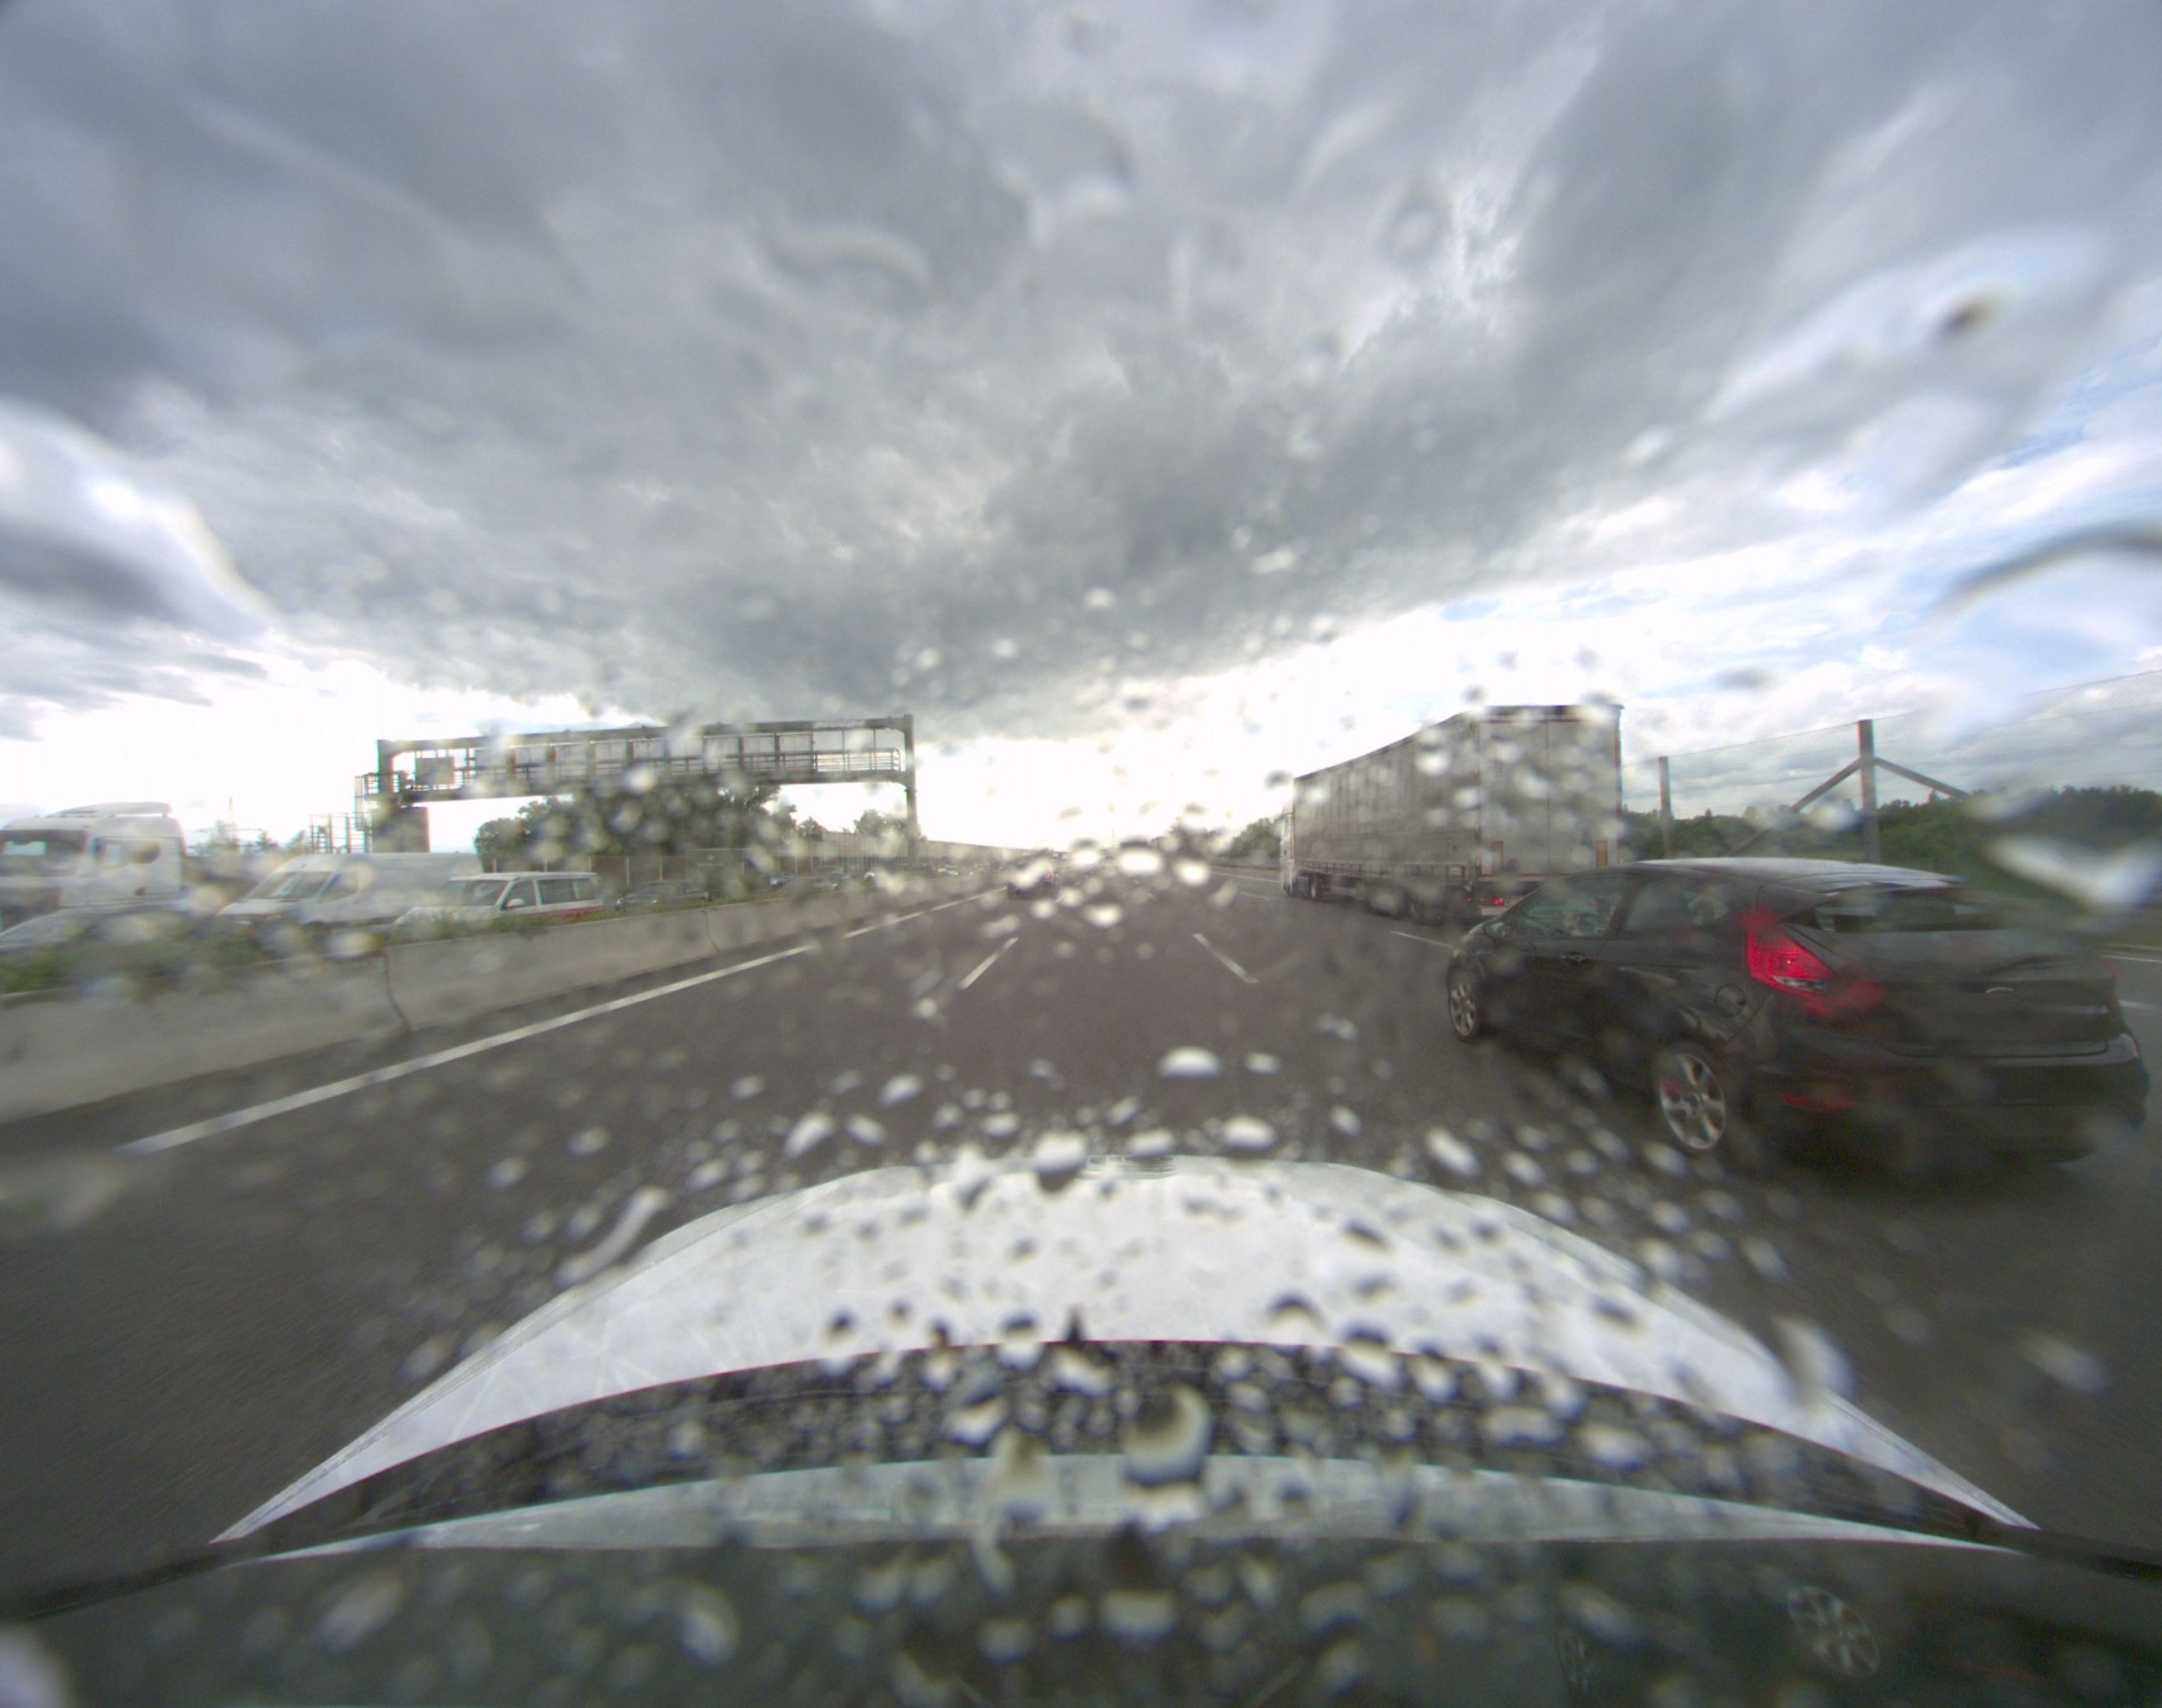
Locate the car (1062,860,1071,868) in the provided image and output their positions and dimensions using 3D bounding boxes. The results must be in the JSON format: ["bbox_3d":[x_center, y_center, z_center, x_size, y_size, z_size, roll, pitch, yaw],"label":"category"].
[{"bbox_3d":[-4.110,2.842,232.397,2.151,2.071,6.018,-2,0,3],"label":"car"}]

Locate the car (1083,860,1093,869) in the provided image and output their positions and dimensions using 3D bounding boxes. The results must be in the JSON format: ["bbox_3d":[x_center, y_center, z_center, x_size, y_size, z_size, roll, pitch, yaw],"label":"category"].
[{"bbox_3d":[1.335,1.929,147.641,1.767,1.441,3.873,-1,0,0],"label":"car"}]

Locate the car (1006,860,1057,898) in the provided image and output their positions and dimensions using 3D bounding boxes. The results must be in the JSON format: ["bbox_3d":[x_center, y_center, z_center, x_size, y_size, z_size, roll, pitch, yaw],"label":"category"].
[{"bbox_3d":[-1.934,0.955,33.256,1.755,1.369,5.059,-1,0,0],"label":"car"}]

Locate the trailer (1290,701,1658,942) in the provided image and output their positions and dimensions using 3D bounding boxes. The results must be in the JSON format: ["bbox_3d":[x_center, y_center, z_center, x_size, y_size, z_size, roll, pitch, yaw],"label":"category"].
[{"bbox_3d":[8.434,-0.584,20.788,2.950,4.020,14.124,-1,0,2],"label":"trailer"}]

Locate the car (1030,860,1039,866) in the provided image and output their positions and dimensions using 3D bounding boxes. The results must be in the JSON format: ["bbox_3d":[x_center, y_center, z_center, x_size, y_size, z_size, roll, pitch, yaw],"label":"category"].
[{"bbox_3d":[-12.360,2.456,214.851,1.740,1.525,5.143,-2,0,3],"label":"car"}]

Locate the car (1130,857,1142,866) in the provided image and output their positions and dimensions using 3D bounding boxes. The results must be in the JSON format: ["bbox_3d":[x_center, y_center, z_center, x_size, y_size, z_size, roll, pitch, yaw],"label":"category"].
[{"bbox_3d":[9.209,1.265,136.626,1.829,1.441,4.056,-1,0,1],"label":"car"}]

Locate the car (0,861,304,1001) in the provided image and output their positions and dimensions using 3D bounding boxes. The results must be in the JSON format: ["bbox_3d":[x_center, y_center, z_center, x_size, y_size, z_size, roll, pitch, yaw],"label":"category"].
[{"bbox_3d":[-17.565,1.237,14.358,2.235,2.114,5.543,-2,0,2],"label":"car"}]

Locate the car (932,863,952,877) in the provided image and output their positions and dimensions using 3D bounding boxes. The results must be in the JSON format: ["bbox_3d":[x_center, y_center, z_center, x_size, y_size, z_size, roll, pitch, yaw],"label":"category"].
[{"bbox_3d":[-17.976,2.090,105.495,1.742,1.630,4.644,-2,0,0],"label":"car"}]

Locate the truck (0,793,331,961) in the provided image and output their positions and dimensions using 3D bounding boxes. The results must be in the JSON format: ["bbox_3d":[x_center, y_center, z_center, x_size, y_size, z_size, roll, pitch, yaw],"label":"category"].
[{"bbox_3d":[-24.729,0.566,22.175,2.742,3.887,6.054,-2,0,2],"label":"truck"}]

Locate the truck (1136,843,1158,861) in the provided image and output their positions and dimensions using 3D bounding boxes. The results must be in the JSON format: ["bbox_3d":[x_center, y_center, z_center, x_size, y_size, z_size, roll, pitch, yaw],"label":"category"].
[{"bbox_3d":[15.282,-0.437,189.437,4.228,4.176,11.992,0,0,1],"label":"truck"}]

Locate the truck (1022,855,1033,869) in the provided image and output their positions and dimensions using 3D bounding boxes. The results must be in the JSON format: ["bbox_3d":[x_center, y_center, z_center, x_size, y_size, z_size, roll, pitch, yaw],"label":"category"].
[{"bbox_3d":[-15.072,2.253,229.851,2.566,3.935,5.180,0,0,3],"label":"truck"}]

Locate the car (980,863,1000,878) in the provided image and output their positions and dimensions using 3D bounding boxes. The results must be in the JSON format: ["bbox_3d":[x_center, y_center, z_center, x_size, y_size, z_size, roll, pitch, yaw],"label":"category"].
[{"bbox_3d":[-10.720,1.879,95.990,1.740,1.630,3.750,-2,0,2],"label":"car"}]

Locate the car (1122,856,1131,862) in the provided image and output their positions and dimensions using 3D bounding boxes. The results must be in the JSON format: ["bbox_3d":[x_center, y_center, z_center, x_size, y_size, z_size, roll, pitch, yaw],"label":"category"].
[{"bbox_3d":[10.841,1.254,194.620,1.829,1.441,4.056,-1,0,1],"label":"car"}]

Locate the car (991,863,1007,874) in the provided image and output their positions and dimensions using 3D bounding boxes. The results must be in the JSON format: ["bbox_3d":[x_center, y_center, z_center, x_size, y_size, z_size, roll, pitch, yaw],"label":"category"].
[{"bbox_3d":[-13.231,2.385,131.961,1.927,1.611,4.180,-2,0,3],"label":"car"}]

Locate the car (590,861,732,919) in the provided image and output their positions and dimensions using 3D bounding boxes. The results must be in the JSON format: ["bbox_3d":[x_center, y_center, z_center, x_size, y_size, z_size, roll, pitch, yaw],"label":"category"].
[{"bbox_3d":[-17.161,1.391,33.779,2.440,2.051,6.197,-2,0,2],"label":"car"}]

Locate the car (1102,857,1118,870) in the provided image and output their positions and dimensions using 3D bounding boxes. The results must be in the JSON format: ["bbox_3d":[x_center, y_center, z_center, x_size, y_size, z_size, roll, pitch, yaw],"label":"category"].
[{"bbox_3d":[3.530,1.119,98.394,1.767,1.441,4.054,-1,0,0],"label":"car"}]

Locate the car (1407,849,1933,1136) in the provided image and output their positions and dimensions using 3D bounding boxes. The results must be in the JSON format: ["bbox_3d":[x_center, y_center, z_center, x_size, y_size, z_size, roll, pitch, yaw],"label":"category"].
[{"bbox_3d":[3.660,0.709,5.767,1.442,1.441,3.164,-1,0,1],"label":"car"}]

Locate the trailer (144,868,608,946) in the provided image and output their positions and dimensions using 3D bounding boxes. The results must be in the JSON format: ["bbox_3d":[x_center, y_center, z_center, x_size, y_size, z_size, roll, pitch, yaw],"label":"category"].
[{"bbox_3d":[-24.335,1.606,30.791,2.742,1.828,16.358,-2,0,2],"label":"trailer"}]

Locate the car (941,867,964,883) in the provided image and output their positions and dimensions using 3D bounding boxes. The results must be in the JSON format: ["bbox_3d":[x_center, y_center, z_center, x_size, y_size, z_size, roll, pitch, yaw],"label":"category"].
[{"bbox_3d":[-14.500,2.317,92.097,1.740,1.630,4.168,-2,0,2],"label":"car"}]

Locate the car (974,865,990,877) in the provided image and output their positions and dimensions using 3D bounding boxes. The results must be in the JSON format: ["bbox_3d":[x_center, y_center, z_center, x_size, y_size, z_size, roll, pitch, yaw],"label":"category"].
[{"bbox_3d":[-14.214,2.425,117.099,1.614,1.580,3.622,-2,0,3],"label":"car"}]

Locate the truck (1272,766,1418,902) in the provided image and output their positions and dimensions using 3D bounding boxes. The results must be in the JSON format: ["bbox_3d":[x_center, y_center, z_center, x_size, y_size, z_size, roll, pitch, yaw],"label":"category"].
[{"bbox_3d":[8.649,-0.618,27.605,2.950,4.020,6.591,-1,0,2],"label":"truck"}]

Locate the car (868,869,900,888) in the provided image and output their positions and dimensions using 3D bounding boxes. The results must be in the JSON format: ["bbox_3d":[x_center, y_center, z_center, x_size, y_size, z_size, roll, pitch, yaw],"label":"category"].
[{"bbox_3d":[-18.931,2.375,78.324,1.815,1.630,4.527,-2,0,2],"label":"car"}]

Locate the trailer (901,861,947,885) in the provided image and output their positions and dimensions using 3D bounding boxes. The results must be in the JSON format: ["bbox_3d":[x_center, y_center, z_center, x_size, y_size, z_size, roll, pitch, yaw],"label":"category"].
[{"bbox_3d":[-12.252,1.420,64.014,2.135,1.709,6.049,-2,0,2],"label":"trailer"}]

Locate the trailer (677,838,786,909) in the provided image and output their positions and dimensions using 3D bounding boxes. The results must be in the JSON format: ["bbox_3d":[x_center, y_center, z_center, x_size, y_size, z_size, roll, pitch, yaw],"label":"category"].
[{"bbox_3d":[-16.921,0.872,39.902,2.440,3.138,6.054,-2,0,2],"label":"trailer"}]

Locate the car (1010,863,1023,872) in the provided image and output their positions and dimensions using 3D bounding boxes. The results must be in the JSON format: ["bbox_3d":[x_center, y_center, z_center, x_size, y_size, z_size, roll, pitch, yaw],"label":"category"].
[{"bbox_3d":[-12.047,2.484,152.681,1.740,1.525,4.930,-2,0,3],"label":"car"}]

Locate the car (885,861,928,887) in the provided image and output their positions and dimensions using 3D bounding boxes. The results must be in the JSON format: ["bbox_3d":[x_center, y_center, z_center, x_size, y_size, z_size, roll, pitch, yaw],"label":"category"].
[{"bbox_3d":[-12.484,1.393,58.590,1.809,1.709,4.809,-2,0,2],"label":"car"}]

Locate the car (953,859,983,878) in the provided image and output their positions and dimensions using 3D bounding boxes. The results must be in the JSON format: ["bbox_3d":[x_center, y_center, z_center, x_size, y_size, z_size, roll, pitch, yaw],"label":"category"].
[{"bbox_3d":[-11.039,1.383,79.903,1.872,1.744,5.115,-2,0,4],"label":"car"}]

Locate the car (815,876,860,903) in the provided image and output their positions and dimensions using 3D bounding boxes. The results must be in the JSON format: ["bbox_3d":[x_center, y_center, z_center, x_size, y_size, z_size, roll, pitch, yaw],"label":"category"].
[{"bbox_3d":[-15.803,2.266,52.996,1.676,1.577,3.876,-2,0,1],"label":"car"}]

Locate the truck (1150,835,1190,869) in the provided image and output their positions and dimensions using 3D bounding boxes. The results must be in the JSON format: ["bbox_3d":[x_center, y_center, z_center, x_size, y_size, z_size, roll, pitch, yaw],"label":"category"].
[{"bbox_3d":[11.830,-0.307,109.808,4.166,4.288,12.613,0,0,1],"label":"truck"}]

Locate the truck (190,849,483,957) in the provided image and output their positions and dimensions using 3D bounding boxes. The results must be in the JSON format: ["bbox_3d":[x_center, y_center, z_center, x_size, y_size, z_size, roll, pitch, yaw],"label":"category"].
[{"bbox_3d":[-20.893,1.239,23.491,2.235,2.604,6.561,-2,0,2],"label":"truck"}]

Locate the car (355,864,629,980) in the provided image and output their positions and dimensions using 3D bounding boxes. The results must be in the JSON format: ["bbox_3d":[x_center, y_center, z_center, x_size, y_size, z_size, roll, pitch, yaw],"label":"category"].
[{"bbox_3d":[-13.417,1.408,19.168,2.221,2.237,5.516,-2,0,2],"label":"car"}]
